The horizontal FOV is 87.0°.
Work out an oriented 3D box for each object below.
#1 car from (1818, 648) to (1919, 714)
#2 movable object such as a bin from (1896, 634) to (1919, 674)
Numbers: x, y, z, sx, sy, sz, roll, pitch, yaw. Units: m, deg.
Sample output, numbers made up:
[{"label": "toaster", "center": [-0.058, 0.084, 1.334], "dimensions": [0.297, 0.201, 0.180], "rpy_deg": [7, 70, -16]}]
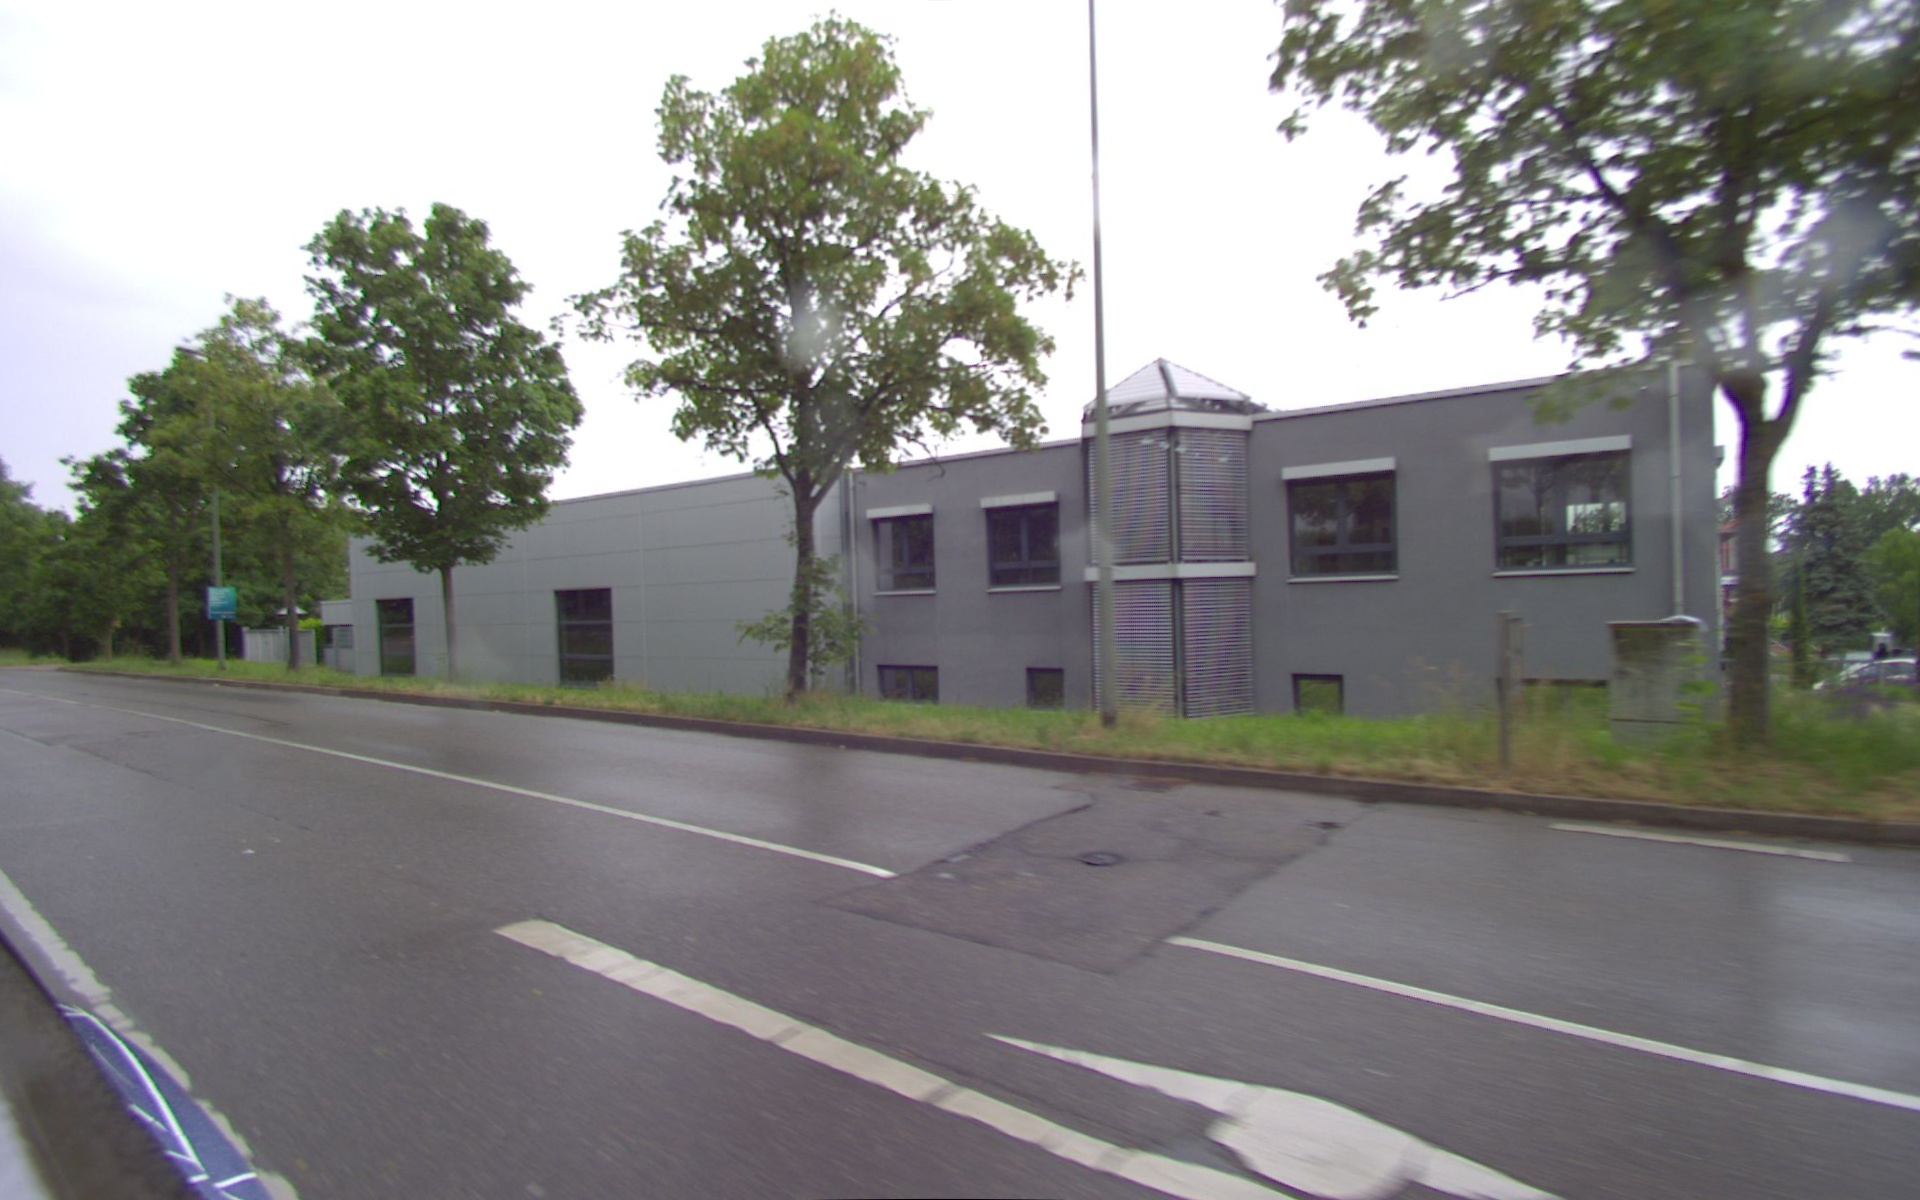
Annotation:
[{"label": "car", "center": [26.906, 2.268, 29.025], "dimensions": [3.196, 1.565, 1.489], "rpy_deg": [-12, -9, 36]}, {"label": "movable object such as a bin", "center": [51.977, 2.932, 55.219], "dimensions": [1.111, 2.162, 1.246], "rpy_deg": [-1, -1, 36]}]
